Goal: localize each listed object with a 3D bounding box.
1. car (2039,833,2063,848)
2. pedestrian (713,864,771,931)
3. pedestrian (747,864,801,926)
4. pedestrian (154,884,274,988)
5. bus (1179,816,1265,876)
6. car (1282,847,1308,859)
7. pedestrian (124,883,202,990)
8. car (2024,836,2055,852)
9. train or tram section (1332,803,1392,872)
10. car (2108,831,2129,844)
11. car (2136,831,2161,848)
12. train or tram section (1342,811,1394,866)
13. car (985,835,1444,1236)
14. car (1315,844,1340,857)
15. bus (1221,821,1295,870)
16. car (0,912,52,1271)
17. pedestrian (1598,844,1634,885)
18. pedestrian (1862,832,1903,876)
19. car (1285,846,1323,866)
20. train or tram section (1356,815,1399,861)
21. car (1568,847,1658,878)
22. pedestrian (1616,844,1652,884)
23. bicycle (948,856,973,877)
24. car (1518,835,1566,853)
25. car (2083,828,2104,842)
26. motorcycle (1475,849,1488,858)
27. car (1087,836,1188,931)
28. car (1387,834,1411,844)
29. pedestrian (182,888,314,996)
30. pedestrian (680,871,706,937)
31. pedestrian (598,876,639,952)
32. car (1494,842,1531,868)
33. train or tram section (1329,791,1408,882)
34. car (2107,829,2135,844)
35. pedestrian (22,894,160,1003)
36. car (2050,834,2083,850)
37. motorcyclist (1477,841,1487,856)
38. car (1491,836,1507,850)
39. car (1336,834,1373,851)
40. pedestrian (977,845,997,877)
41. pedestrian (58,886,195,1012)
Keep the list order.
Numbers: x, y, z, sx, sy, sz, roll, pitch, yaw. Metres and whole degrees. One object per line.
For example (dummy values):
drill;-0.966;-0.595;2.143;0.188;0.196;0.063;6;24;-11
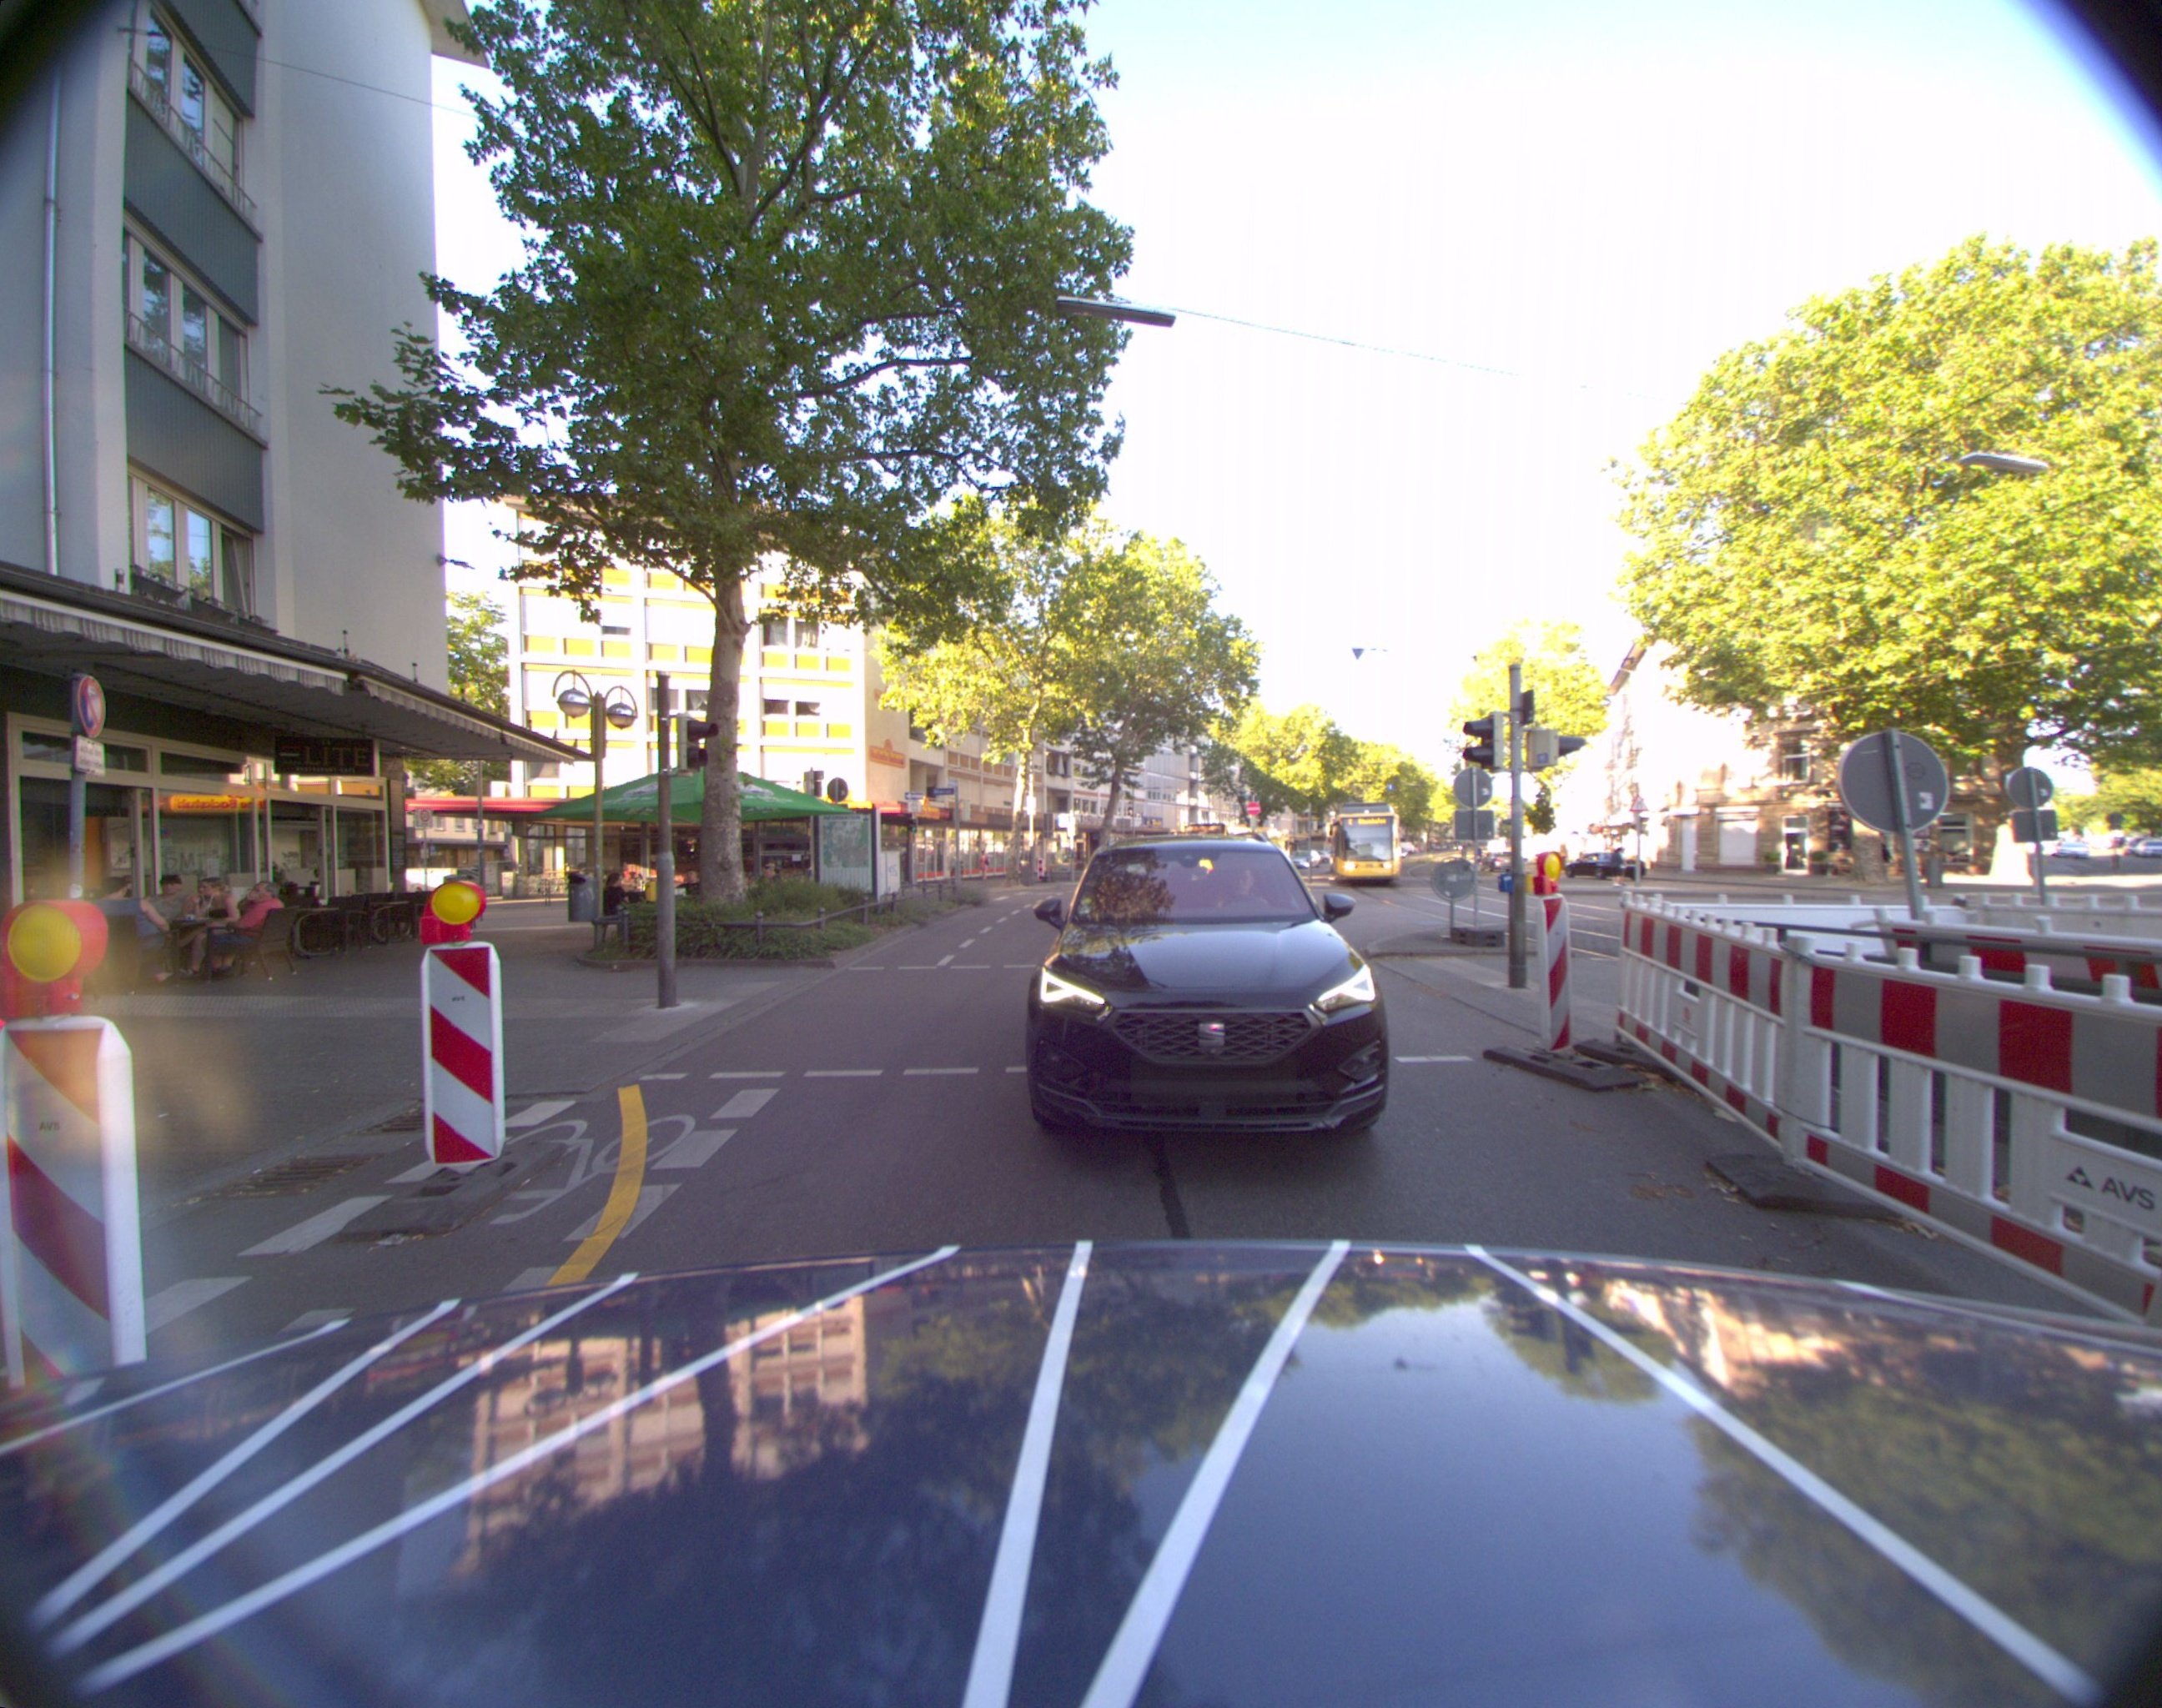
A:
car;135.107;-1.846;105.811;4.007;2.004;1.846;-2;1;-36
pedestrian;-6.795;0.862;15.266;0.718;1.278;0.769;-1;1;14
pedestrian;-6.527;0.856;16.190;0.718;1.278;0.769;-1;1;13
pedestrian;-10.679;0.983;9.386;0.666;1.211;0.717;0;0;-5
bus;8.394;-0.454;44.105;2.748;3.085;9.511;0;1;24
car;23.939;-0.105;85.022;2.629;1.210;1.200;-1;2;-6
pedestrian;-11.229;0.986;9.298;0.519;1.236;0.553;0;0;34
car;94.624;-0.972;75.007;4.007;1.485;1.723;-1;1;-36
train or tram section;16.446;-0.927;44.161;2.838;3.467;10.353;-1;1;22
car;161.179;-2.536;118.013;4.007;2.004;1.846;-2;1;-36
car;98.499;-1.323;69.855;4.007;1.485;1.723;-1;1;-36
train or tram section;20.421;-1.074;53.716;2.873;3.467;10.354;-1;1;24
car;0.697;0.757;5.315;1.848;1.648;4.300;-2;1;4
car;29.806;-0.446;91.851;2.627;1.464;1.201;-1;2;3
bus;12.450;-0.618;52.690;2.748;3.085;9.513;0;1;27
car;-5.164;0.976;1.430;1.623;1.458;3.604;1;0;-2
pedestrian;19.982;0.371;28.389;0.799;1.500;0.800;-1;1;-28
pedestrian;32.332;-0.014;30.648;0.797;1.746;0.802;-1;1;0
car;18.914;0.145;64.303;1.907;1.467;4.426;0;2;32
train or tram section;24.765;-1.305;63.180;2.838;3.467;10.354;-1;1;24
car;26.926;0.423;38.676;1.997;1.440;4.541;-1;0;10
pedestrian;20.807;0.366;28.584;0.798;1.500;0.800;-1;1;-23
bicycle;-6.653;0.682;42.038;0.528;1.136;1.976;-1;1;15
car;52.650;-1.140;86.793;4.651;1.965;1.901;-1;1;-11
car;156.145;-2.959;117.208;4.007;2.004;1.846;-2;1;-36
motorcycle;36.368;-0.058;68.974;0.681;0.804;1.997;-1;2;18
car;1.220;0.511;15.669;1.743;1.630;4.300;-2;1;6
car;64.329;-2.989;153.858;4.000;2.002;1.879;-1;1;-8
pedestrian;-9.833;1.013;9.006;0.847;1.191;0.649;0;0;-22
pedestrian;-7.397;0.937;14.489;0.433;1.212;0.467;0;1;-29
pedestrian;-7.767;0.992;12.754;0.469;1.212;0.431;-2;1;-44
car;28.744;0.050;50.710;1.949;1.645;4.699;-1;0;28
train or tram section;12.882;-0.735;34.319;2.819;3.467;10.352;-1;1;20
car;109.067;-1.838;79.676;4.007;1.485;1.723;-1;1;-36
pedestrian;-11.073;1.026;8.530;0.718;1.123;0.649;0;0;-24
car;91.081;-1.112;70.236;4.007;1.485;1.723;-1;1;-36
motorcyclist;36.363;-0.492;68.951;0.681;1.308;0.985;-1;2;18
car;66.416;-1.718;120.619;2.162;2.110;4.987;1;1;29
car;40.647;-1.672;113.111;4.868;2.362;1.878;-1;2;-10
pedestrian;-5.140;0.385;41.405;0.748;1.747;0.903;-1;1;17
pedestrian;-10.206;0.981;8.154;0.651;1.244;0.716;0;0;-24
